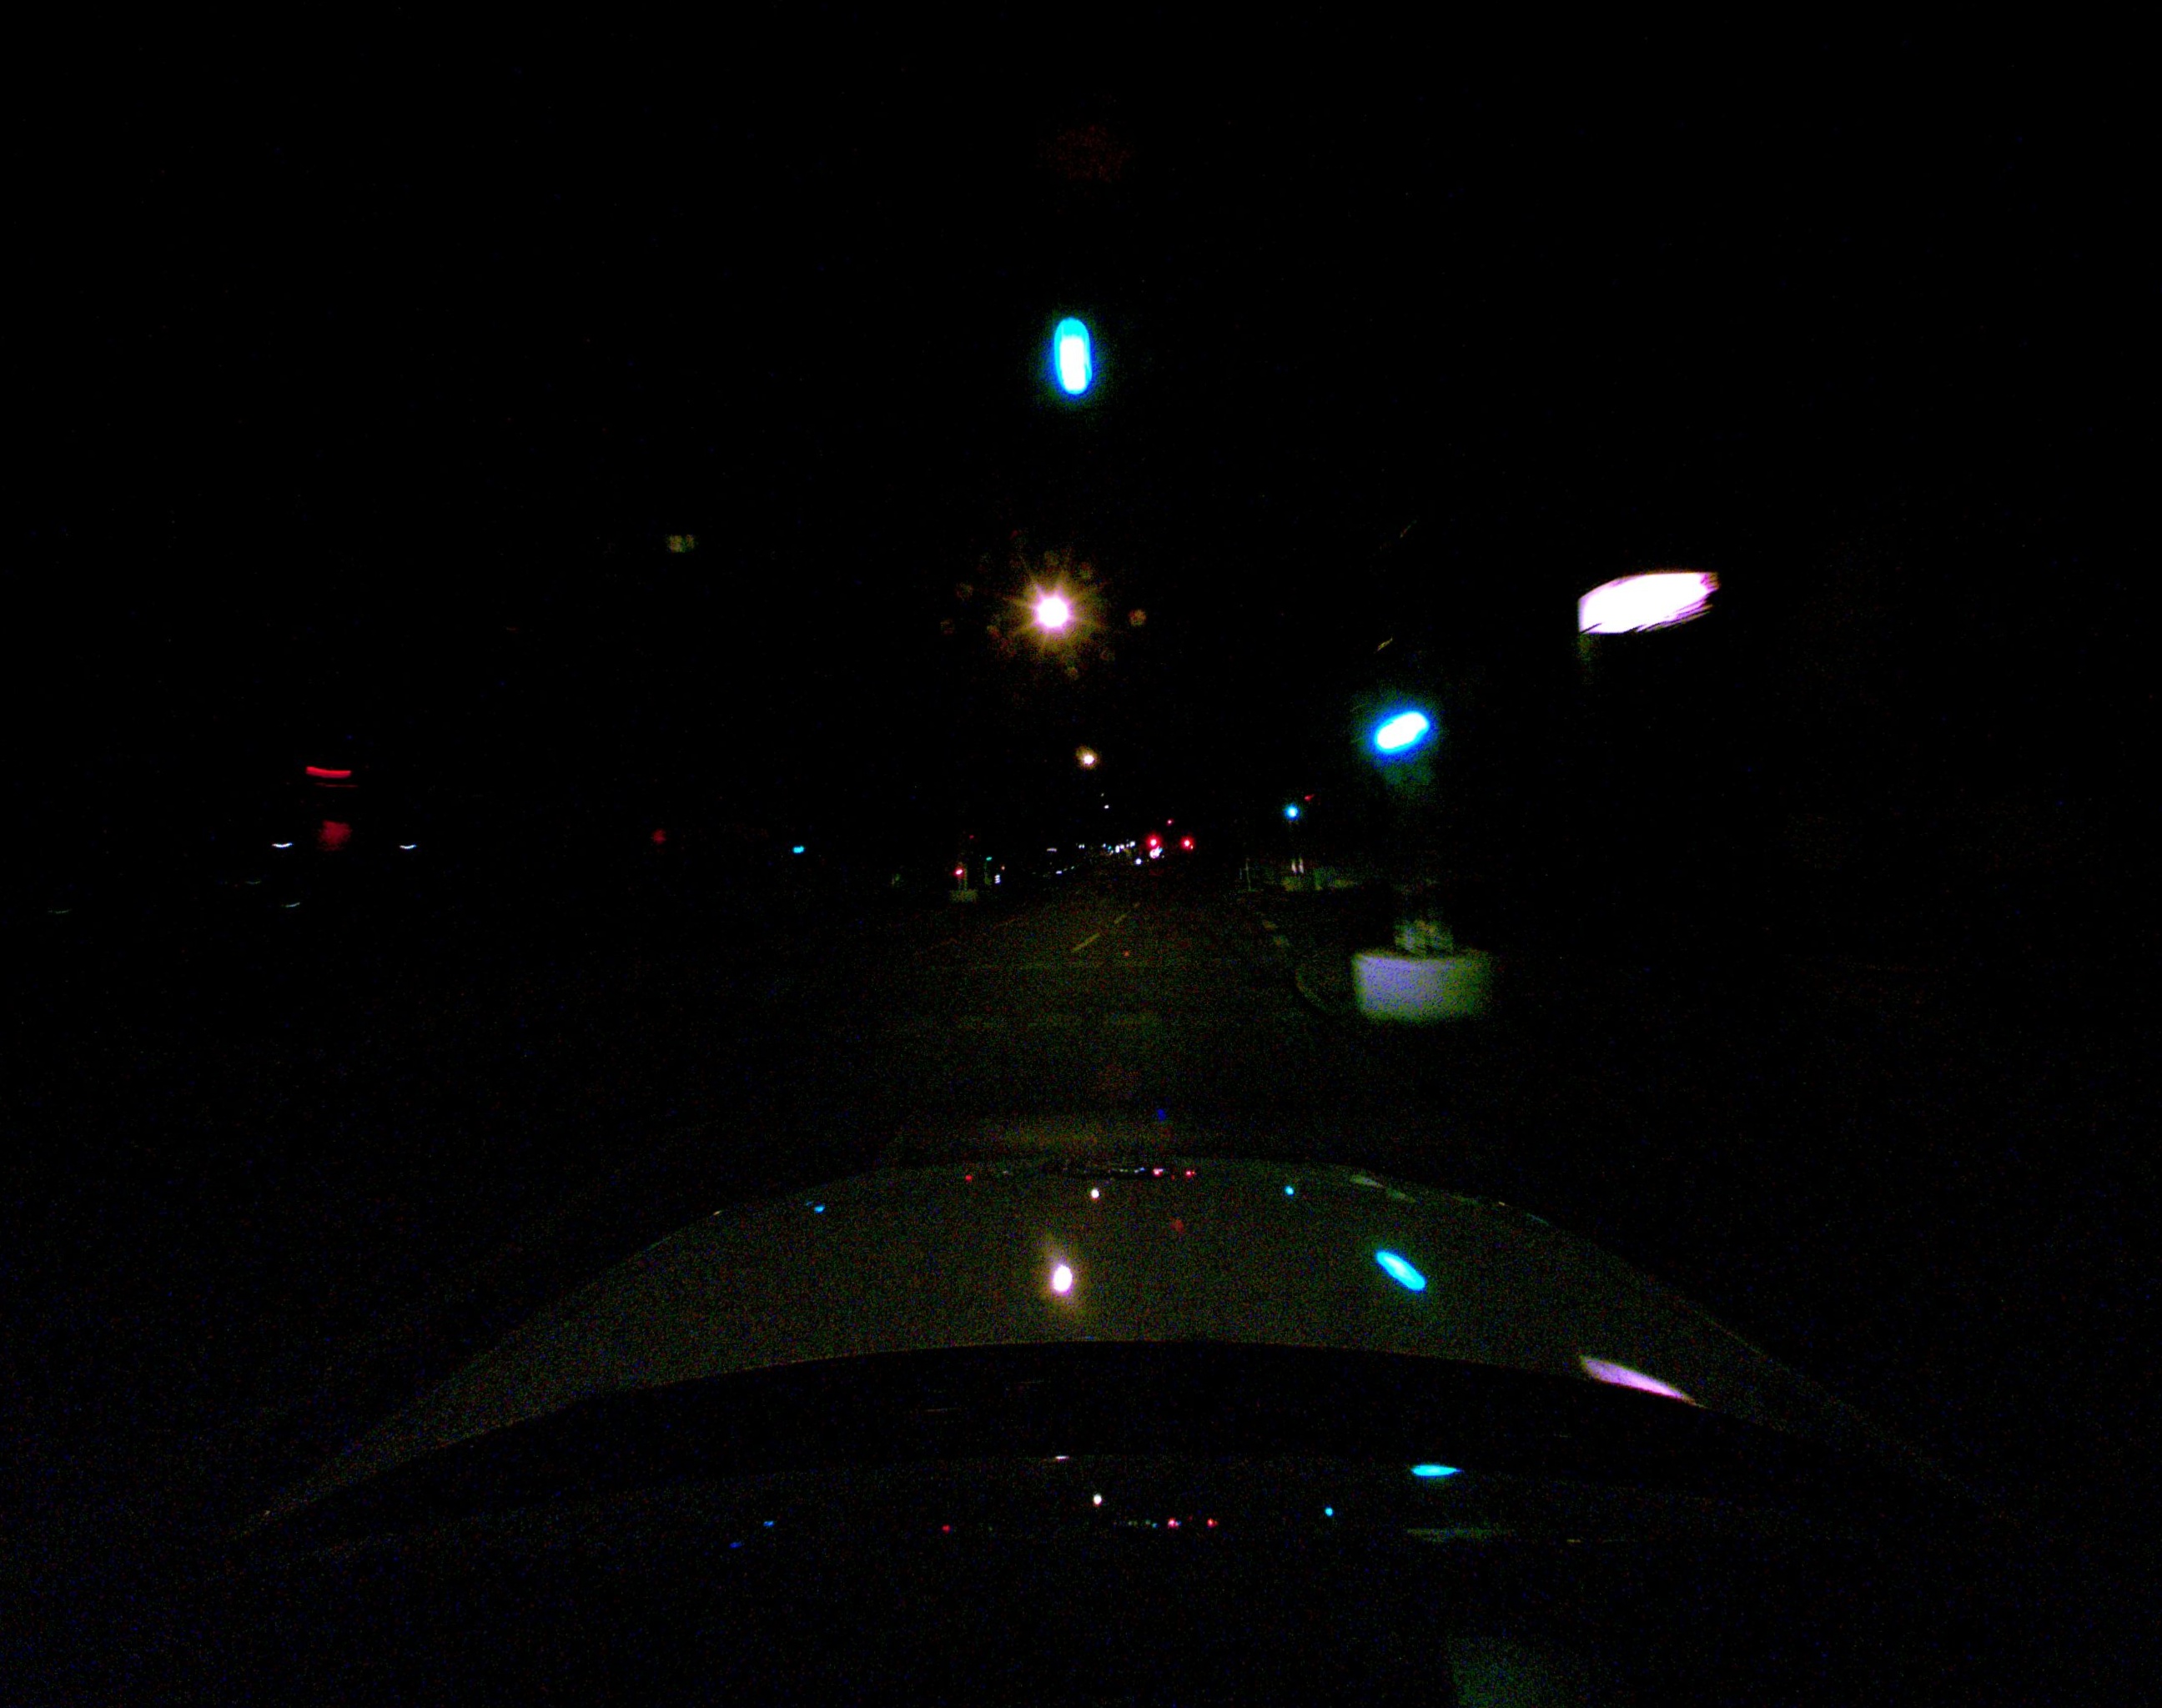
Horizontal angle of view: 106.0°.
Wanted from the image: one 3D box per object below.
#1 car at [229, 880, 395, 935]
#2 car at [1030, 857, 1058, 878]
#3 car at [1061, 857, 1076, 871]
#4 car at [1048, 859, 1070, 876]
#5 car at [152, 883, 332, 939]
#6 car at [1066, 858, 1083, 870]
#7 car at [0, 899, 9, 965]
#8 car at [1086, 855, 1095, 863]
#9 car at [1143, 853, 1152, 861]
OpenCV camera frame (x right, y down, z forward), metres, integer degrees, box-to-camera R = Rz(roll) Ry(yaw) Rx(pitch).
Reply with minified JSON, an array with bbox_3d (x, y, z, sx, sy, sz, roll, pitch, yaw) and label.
[{"bbox_3d":[-27.654,1.865,29.480,1.984,1.640,4.005,-3,-1,4],"label":"car"},{"bbox_3d":[-2.792,1.092,62.509,1.707,1.494,3.991,-2,-2,2],"label":"car"},{"bbox_3d":[-1.380,1.116,92.177,1.617,1.382,4.451,-3,0,0],"label":"car"},{"bbox_3d":[-2.086,1.250,78.672,1.762,1.486,4.768,-3,0,1],"label":"car"},{"bbox_3d":[-30.294,1.999,29.612,1.984,1.640,4.191,-3,-1,4],"label":"car"},{"bbox_3d":[-0.778,1.254,105.334,1.891,1.471,4.456,-1,0,3],"label":"car"},{"bbox_3d":[-25.090,1.684,16.452,4.359,1.393,1.833,-3,-5,1],"label":"car"},{"bbox_3d":[1.911,0.942,160.997,1.644,1.431,4.003,-3,0,3],"label":"car"},{"bbox_3d":[13.353,0.565,163.199,1.644,1.431,4.005,-3,0,4],"label":"car"}]
